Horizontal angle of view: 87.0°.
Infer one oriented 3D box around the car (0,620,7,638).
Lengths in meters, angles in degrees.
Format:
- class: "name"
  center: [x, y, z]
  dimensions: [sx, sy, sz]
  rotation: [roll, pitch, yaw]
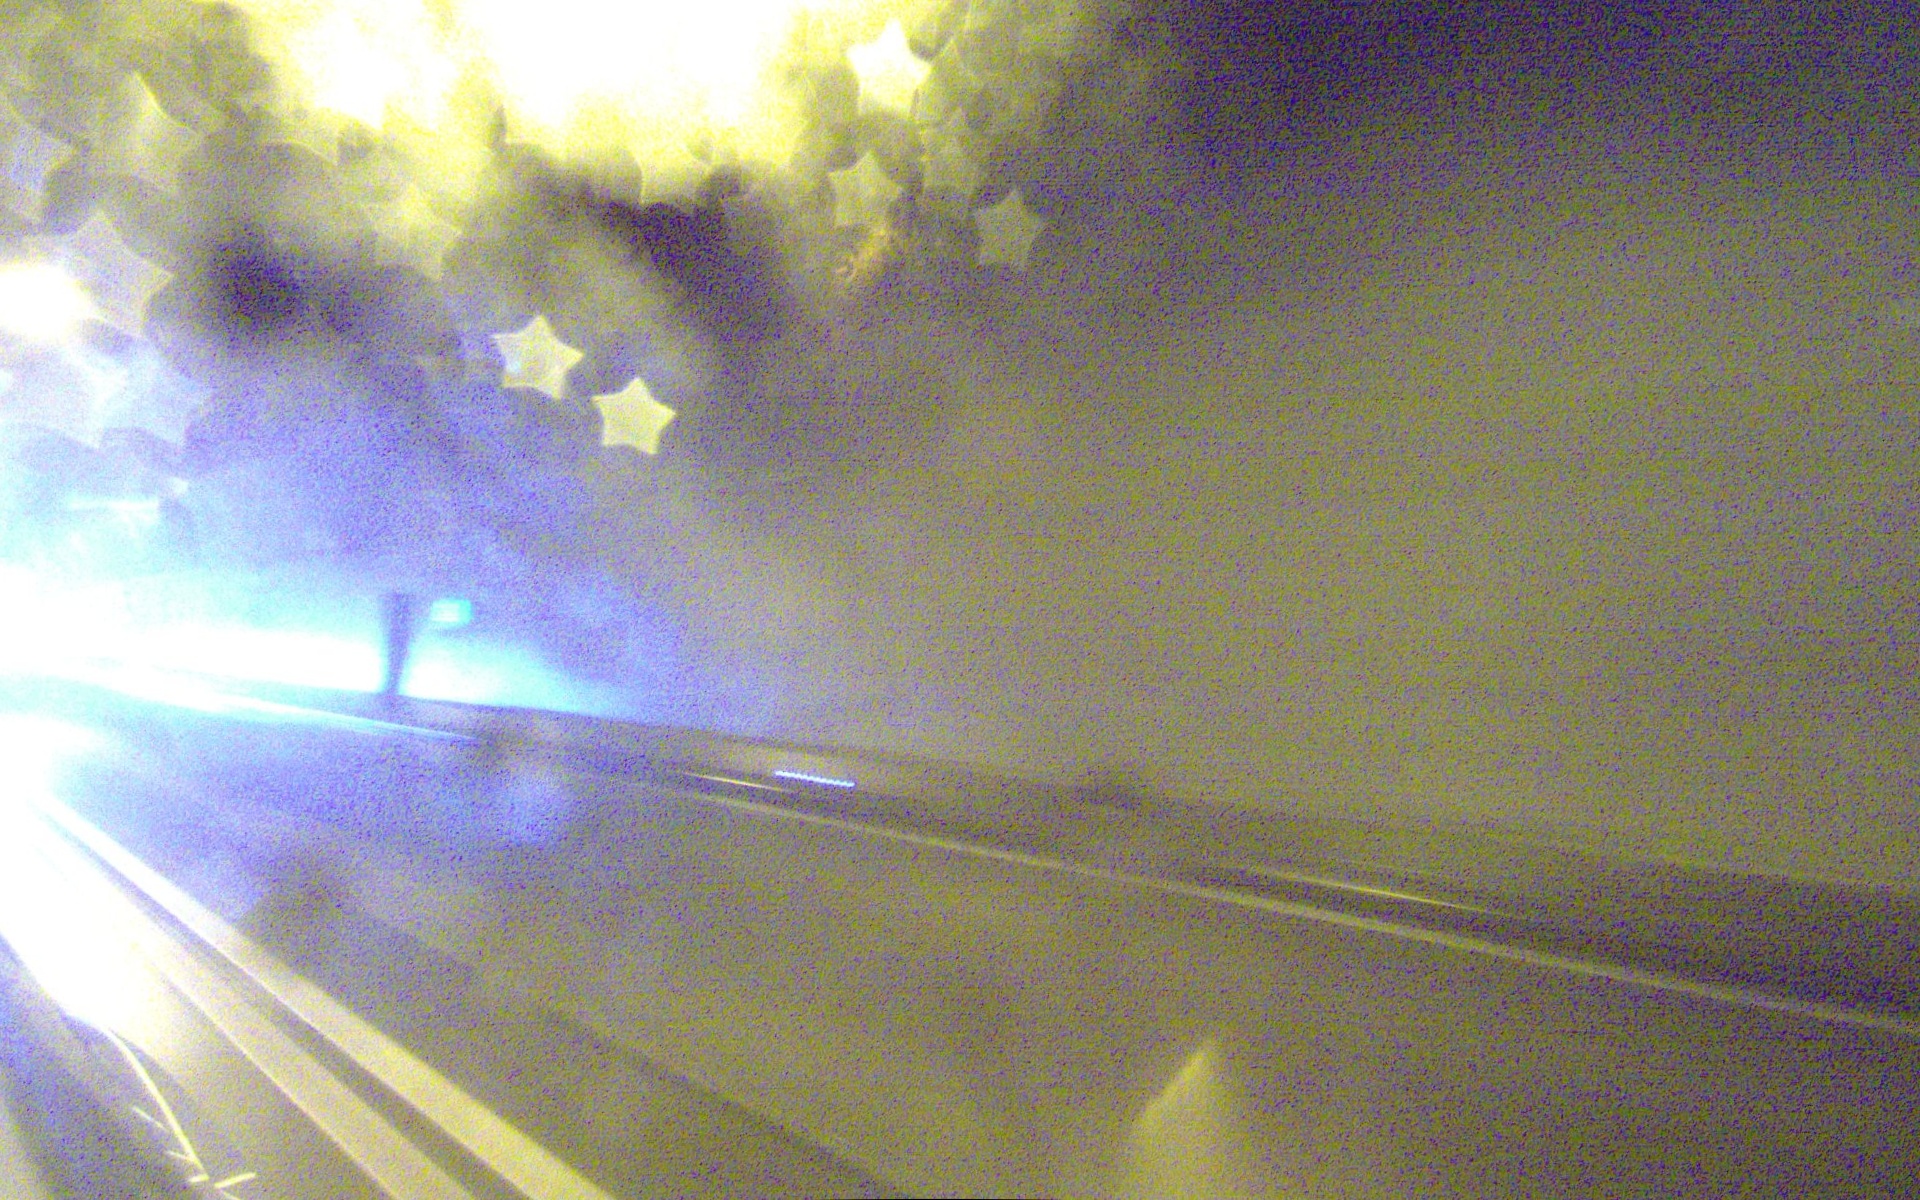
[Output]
- class: "car"
  center: [-85.486, 2.558, 89.212]
  dimensions: [4.001, 1.597, 1.971]
  rotation: [-1, 0, 44]
